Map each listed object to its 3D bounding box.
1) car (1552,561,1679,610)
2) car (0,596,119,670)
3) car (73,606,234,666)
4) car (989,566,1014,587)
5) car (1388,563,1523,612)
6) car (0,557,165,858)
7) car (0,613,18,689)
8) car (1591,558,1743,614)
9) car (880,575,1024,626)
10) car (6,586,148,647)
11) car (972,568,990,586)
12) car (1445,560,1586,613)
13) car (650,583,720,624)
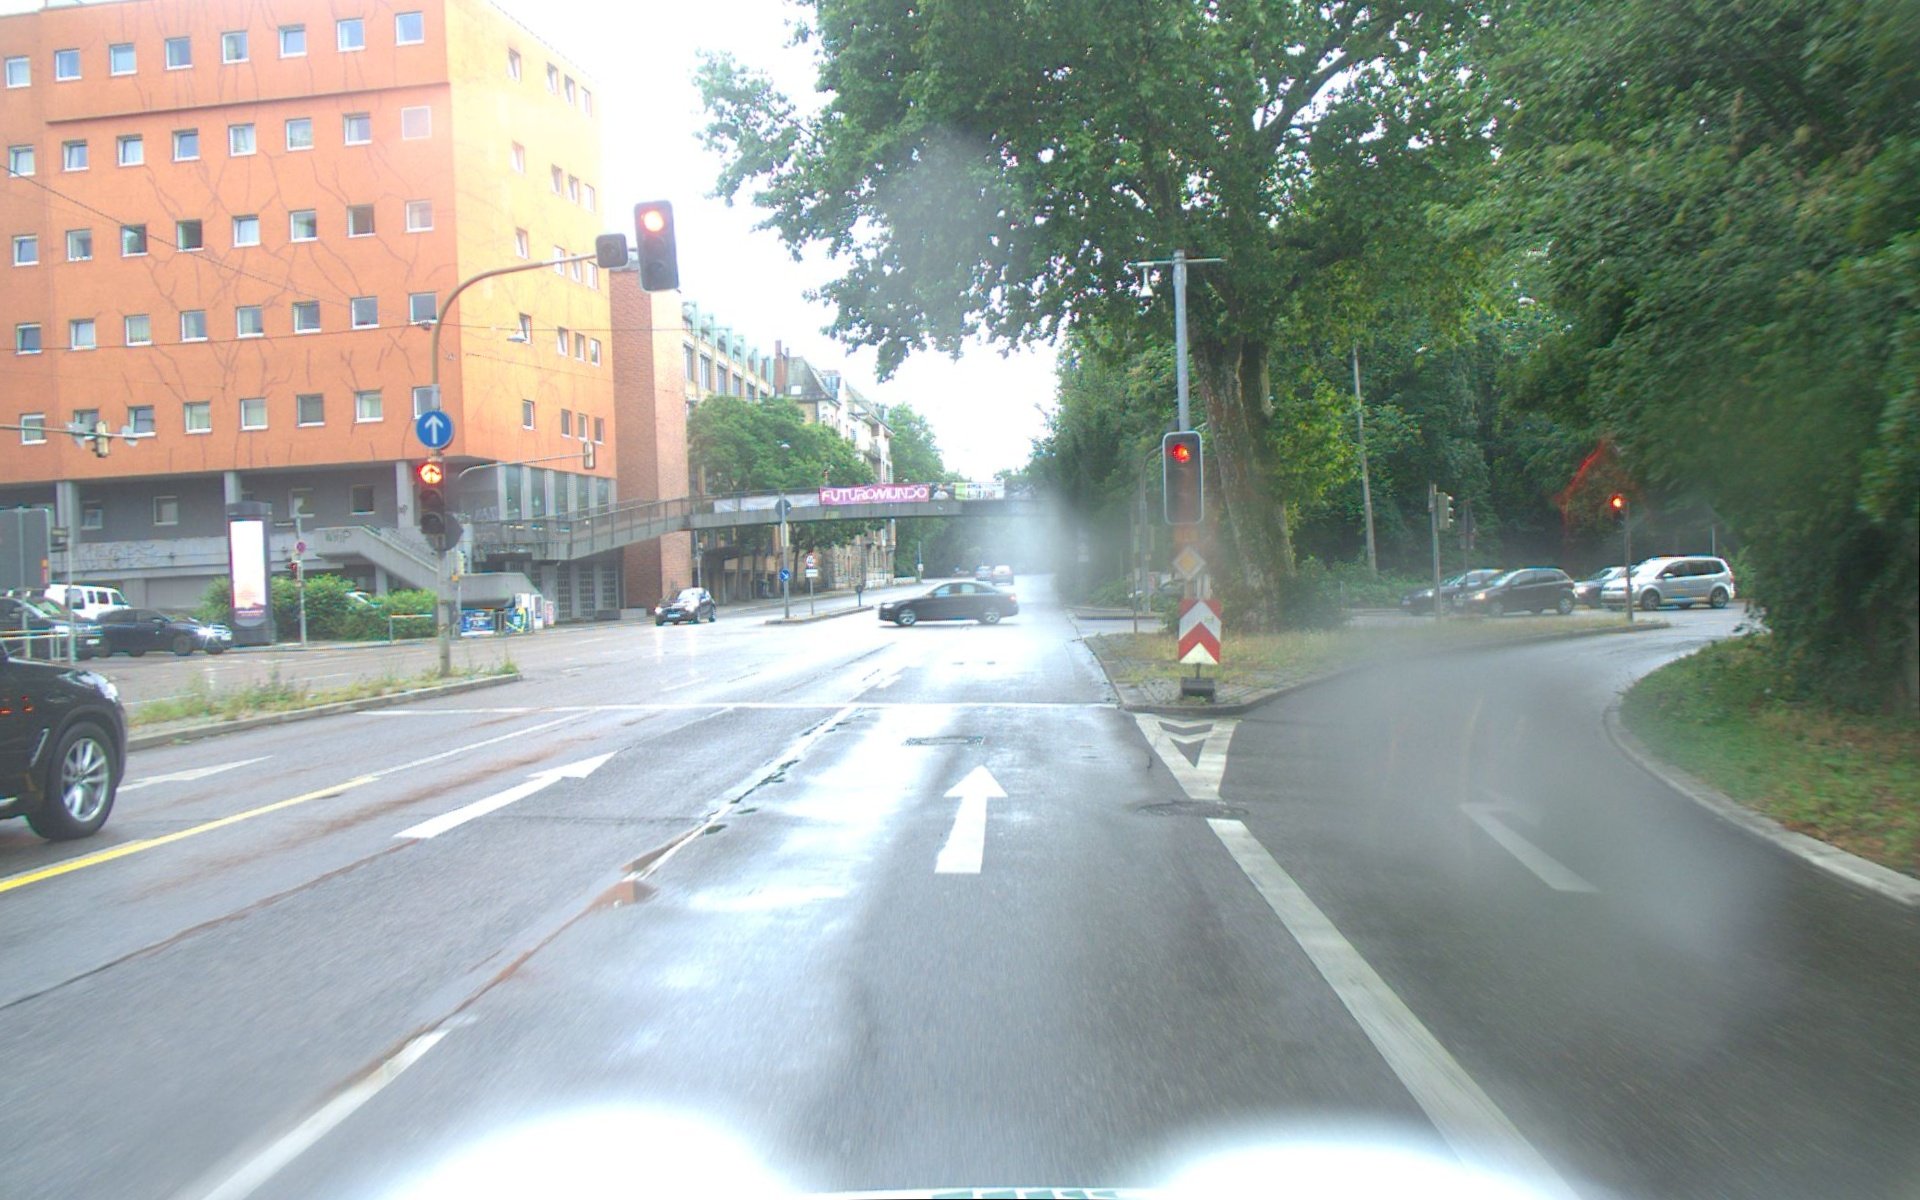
[{"bbox_3d":[22.185,-0.498,55.963,3.764,1.512,1.736,-2,1,-18],"label":"car"},{"bbox_3d":[-26.813,1.014,46.919,4.968,1.878,2.002,-4,-1,10],"label":"car"},{"bbox_3d":[-23.841,1.047,48.934,4.047,1.471,1.587,-4,0,10],"label":"car"},{"bbox_3d":[3.776,-2.147,150.119,2.077,1.765,4.198,0,2,-1],"label":"car"},{"bbox_3d":[16.387,-0.413,54.725,3.926,1.512,1.869,-1,0,-18],"label":"car"},{"bbox_3d":[-6.176,0.608,8.322,1.907,1.625,4.672,0,2,3],"label":"car"},{"bbox_3d":[-27.831,1.512,43.595,5.085,1.965,2.002,-4,0,12],"label":"car"},{"bbox_3d":[22.556,-0.442,52.773,4.187,1.512,1.768,-4,0,-13],"label":"car"},{"bbox_3d":[-0.302,0.008,53.897,4.514,1.476,1.772,-2,0,-6],"label":"car"},{"bbox_3d":[-32.079,0.569,60.266,1.951,2.048,4.856,2,1,9],"label":"car"},{"bbox_3d":[2.222,-2.381,171.913,1.727,1.726,3.706,-4,0,2],"label":"car"},{"bbox_3d":[17.070,-0.422,50.862,3.788,1.511,1.667,-2,0,-13],"label":"car"},{"bbox_3d":[-10.997,0.125,66.412,1.952,1.545,4.001,-2,0,2],"label":"car"}]
